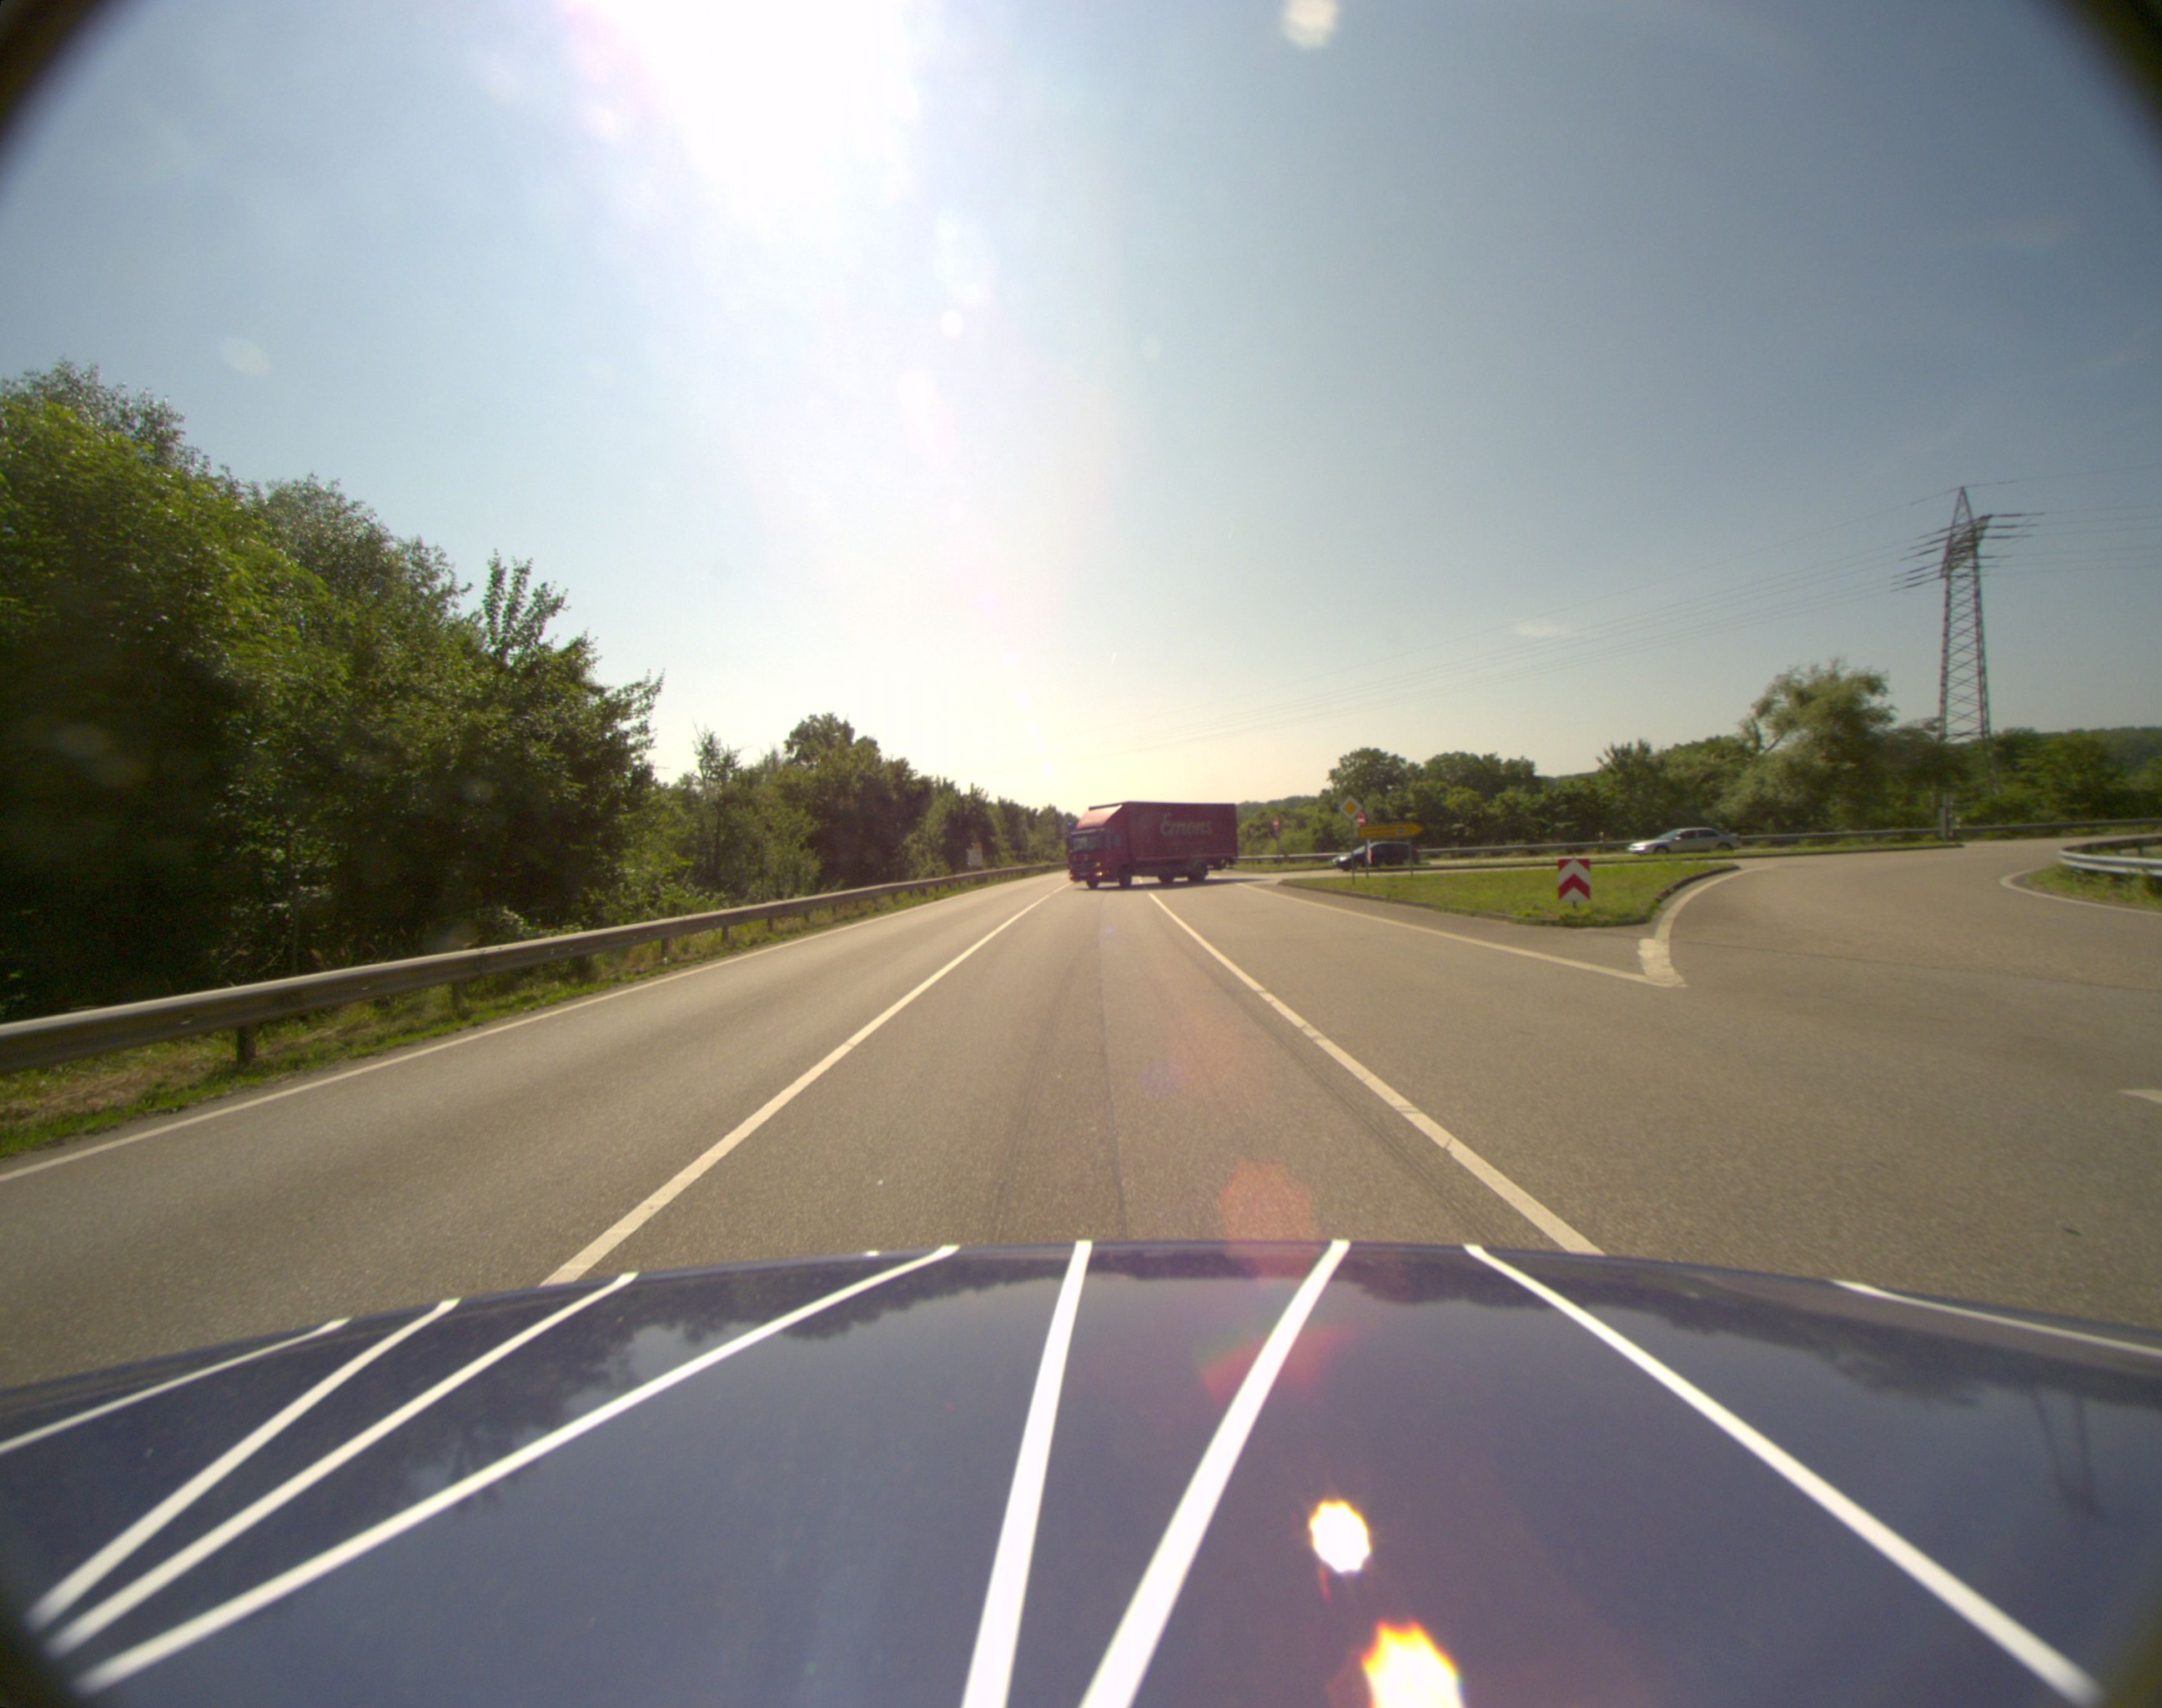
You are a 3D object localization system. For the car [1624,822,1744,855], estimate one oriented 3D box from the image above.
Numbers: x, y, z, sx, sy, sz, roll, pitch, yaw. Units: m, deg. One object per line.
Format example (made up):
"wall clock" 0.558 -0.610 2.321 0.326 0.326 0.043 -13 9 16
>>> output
"car" 30.204 -0.777 38.197 4.371 1.377 1.790 -3 1 13

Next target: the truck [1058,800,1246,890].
"truck" 3.510 -0.529 34.968 9.278 3.640 2.684 -3 1 -40

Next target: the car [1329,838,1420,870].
"car" 15.250 0.003 39.642 3.997 1.406 1.788 -3 1 -1
